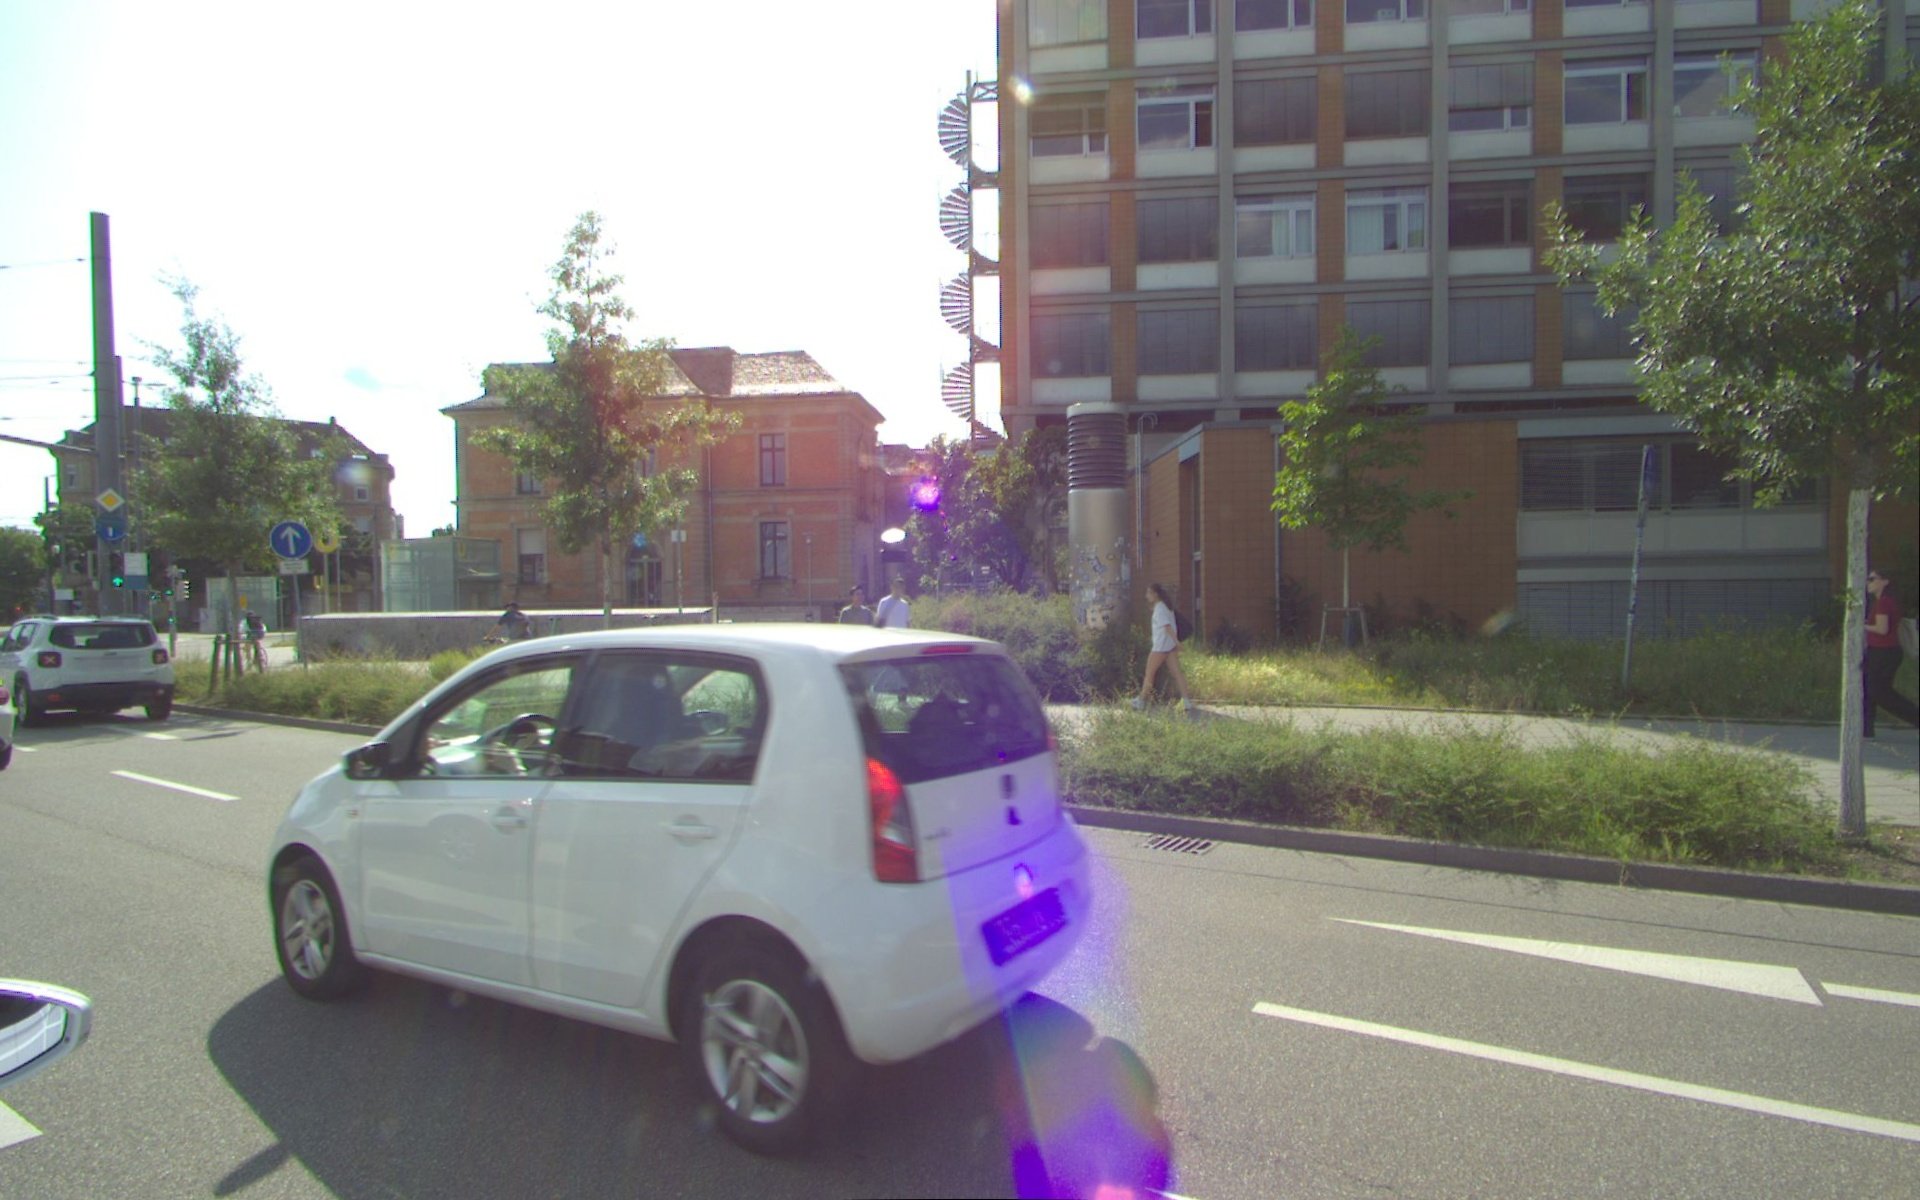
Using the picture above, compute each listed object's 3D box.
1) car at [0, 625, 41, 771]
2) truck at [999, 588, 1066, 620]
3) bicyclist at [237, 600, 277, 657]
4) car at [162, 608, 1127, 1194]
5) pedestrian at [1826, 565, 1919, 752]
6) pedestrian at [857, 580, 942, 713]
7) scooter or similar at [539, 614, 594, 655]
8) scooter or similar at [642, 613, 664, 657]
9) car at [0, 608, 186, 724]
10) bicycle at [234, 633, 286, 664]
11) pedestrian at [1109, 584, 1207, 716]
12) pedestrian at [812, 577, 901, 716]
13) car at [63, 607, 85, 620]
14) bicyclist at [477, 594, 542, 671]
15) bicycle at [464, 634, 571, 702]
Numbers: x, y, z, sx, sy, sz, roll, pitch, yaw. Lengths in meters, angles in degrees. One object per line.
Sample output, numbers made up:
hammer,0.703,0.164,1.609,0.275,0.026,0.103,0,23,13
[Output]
car,-11.314,0.995,10.468,3.631,1.437,1.844,-1,-1,36
truck,4.925,0.279,67.494,4.304,2.039,2.000,0,-2,11
bicyclist,-18.540,0.737,26.409,0.763,1.470,0.606,0,0,34
car,-1.449,0.845,4.212,3.941,1.439,1.648,-2,-4,30
pedestrian,8.587,0.518,9.194,0.877,1.645,0.612,-1,3,32
pedestrian,-0.850,0.625,14.023,0.736,1.770,0.881,-4,3,-43
scooter or similar,-11.244,0.986,28.613,1.420,1.133,0.465,0,2,13
scooter or similar,-8.333,0.939,27.235,0.457,1.119,1.316,-1,1,-13
car,-14.389,1.005,16.406,3.951,1.673,1.829,-2,-1,39
bicycle,-18.430,1.268,26.370,1.599,0.786,0.583,-1,0,34
pedestrian,2.606,0.643,13.188,1.081,1.645,0.612,-1,3,32
pedestrian,-1.391,0.598,13.445,0.737,1.778,0.881,-4,3,-43
car,-116.107,1.746,131.217,1.820,1.673,3.971,0,-1,-37
bicyclist,-7.599,0.525,16.895,0.913,1.237,0.631,1,3,41
bicycle,-7.442,1.106,16.805,1.938,0.983,0.842,0,3,40
